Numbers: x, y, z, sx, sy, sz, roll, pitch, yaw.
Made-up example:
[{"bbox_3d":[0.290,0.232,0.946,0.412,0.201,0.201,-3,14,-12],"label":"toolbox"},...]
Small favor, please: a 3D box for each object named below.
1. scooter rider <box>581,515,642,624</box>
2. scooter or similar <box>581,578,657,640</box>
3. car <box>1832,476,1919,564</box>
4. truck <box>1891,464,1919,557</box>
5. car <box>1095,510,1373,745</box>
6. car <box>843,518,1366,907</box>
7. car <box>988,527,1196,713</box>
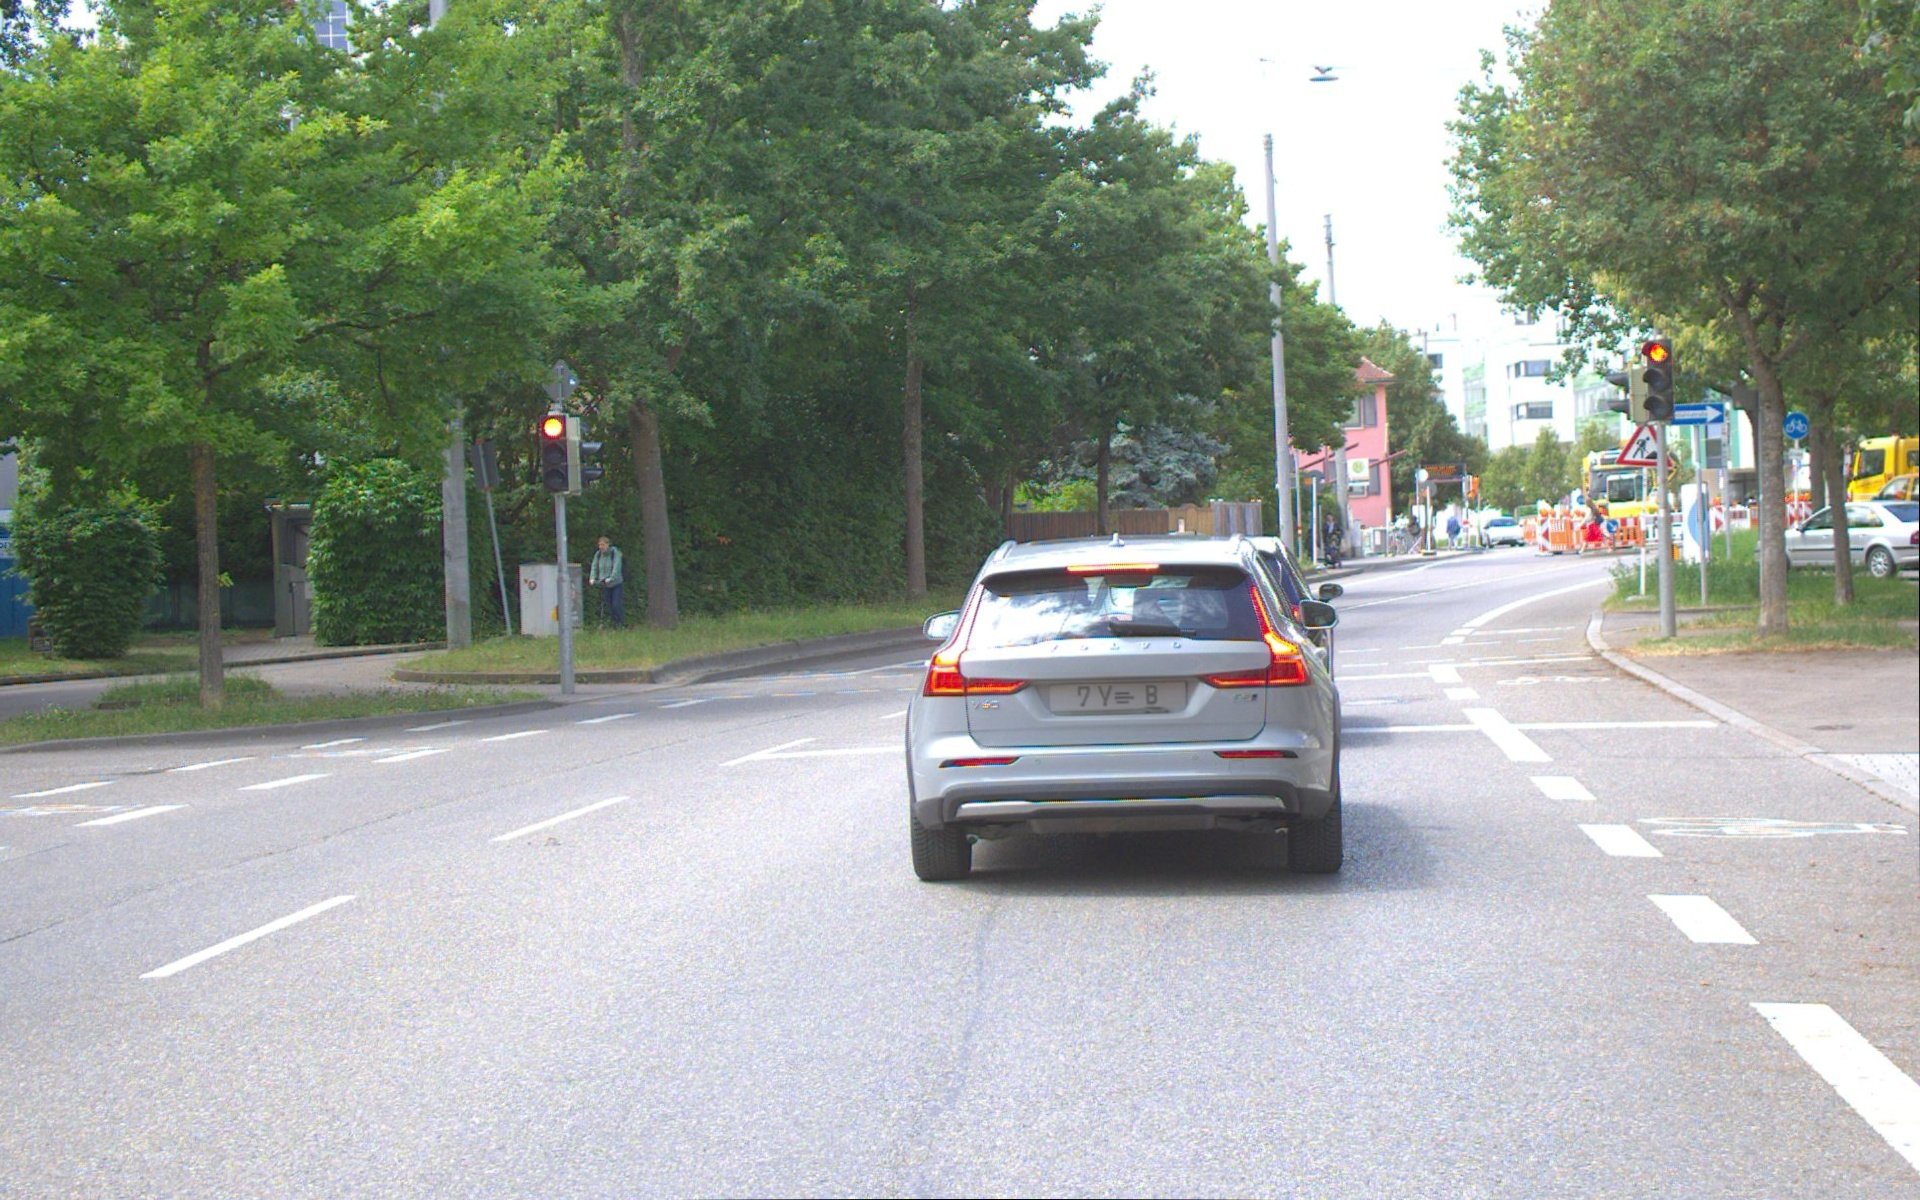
[{"bbox_3d":[-5.551,-0.488,54.788,0.705,1.721,0.680,-1,0,-33],"label":"scooter rider"},{"bbox_3d":[-5.440,0.140,54.832,0.953,0.958,0.690,-2,0,-34],"label":"scooter or similar"},{"bbox_3d":[22.577,-1.878,81.338,3.756,2.007,1.742,-1,0,-35],"label":"car"},{"bbox_3d":[23.444,-2.002,76.240,5.597,2.007,2.089,-1,0,-31],"label":"truck"},{"bbox_3d":[2.035,0.131,24.920,1.804,1.518,4.328,1,1,6],"label":"car"},{"bbox_3d":[0.826,0.414,16.055,1.956,1.518,4.328,-2,1,8],"label":"car"},{"bbox_3d":[1.212,0.176,32.661,1.804,1.611,4.329,1,0,1],"label":"car"}]
